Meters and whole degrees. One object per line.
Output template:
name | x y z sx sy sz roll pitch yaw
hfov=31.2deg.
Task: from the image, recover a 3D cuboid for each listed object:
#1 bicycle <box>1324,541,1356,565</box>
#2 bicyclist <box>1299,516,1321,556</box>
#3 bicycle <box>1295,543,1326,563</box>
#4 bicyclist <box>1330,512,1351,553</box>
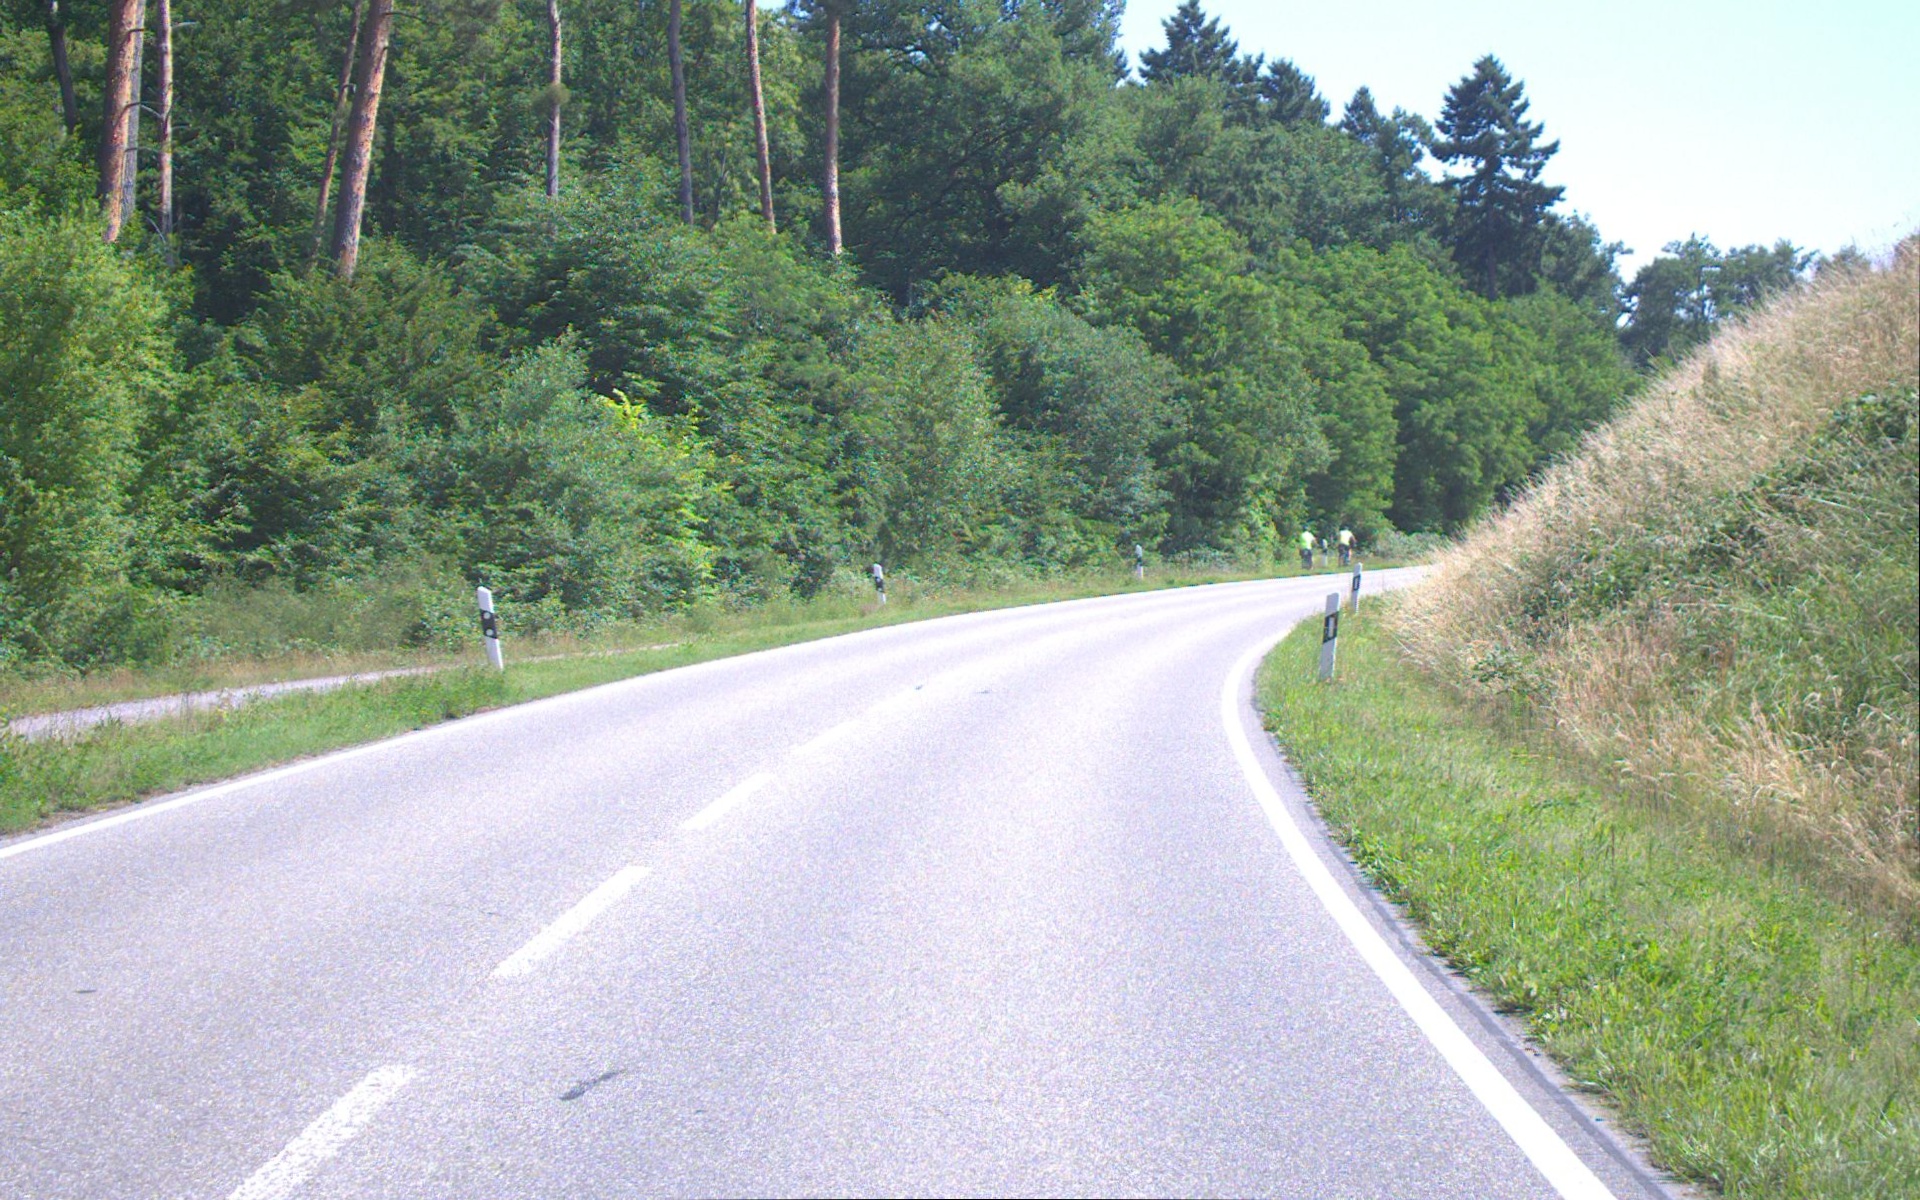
bicycle | 13.336 -1.647 120.569 0.640 0.785 2.135 -1 1 19
bicyclist | 12.372 -2.261 121.526 0.605 1.410 0.702 -1 1 19
bicycle | 12.404 -1.658 121.636 0.619 0.679 2.135 -1 1 19
bicyclist | 13.353 -2.377 120.592 0.605 1.410 0.702 1 2 19
